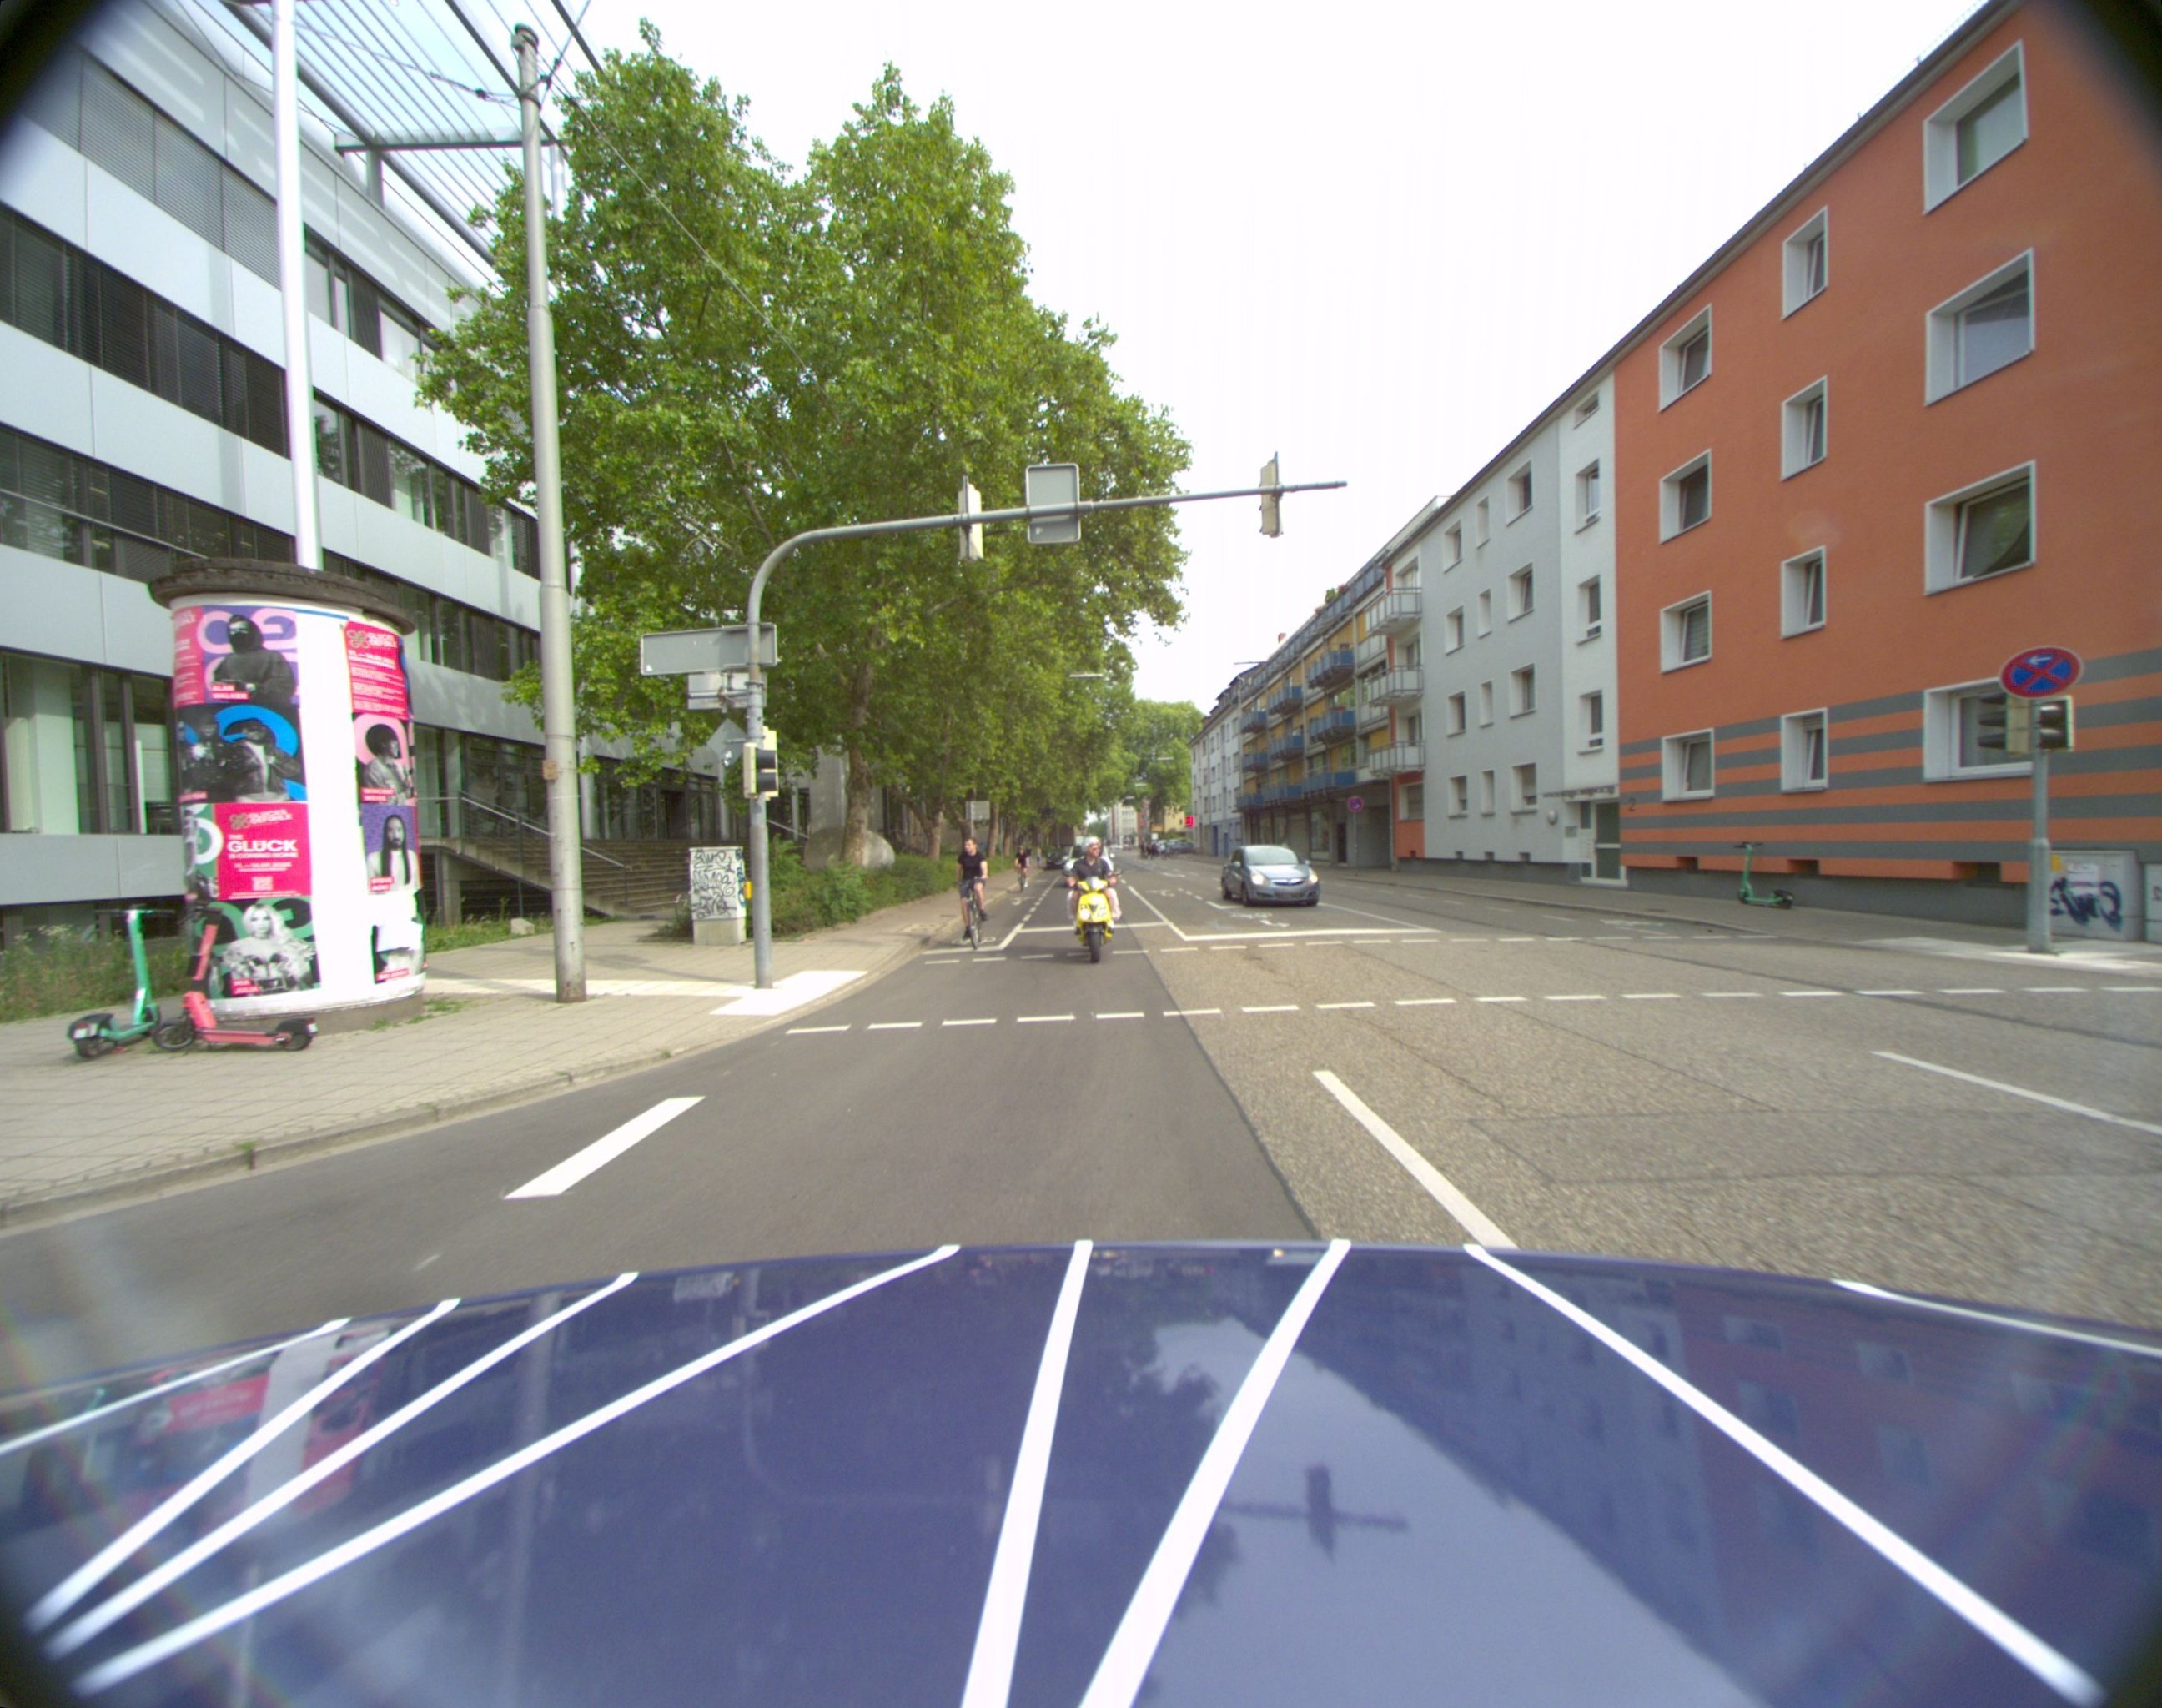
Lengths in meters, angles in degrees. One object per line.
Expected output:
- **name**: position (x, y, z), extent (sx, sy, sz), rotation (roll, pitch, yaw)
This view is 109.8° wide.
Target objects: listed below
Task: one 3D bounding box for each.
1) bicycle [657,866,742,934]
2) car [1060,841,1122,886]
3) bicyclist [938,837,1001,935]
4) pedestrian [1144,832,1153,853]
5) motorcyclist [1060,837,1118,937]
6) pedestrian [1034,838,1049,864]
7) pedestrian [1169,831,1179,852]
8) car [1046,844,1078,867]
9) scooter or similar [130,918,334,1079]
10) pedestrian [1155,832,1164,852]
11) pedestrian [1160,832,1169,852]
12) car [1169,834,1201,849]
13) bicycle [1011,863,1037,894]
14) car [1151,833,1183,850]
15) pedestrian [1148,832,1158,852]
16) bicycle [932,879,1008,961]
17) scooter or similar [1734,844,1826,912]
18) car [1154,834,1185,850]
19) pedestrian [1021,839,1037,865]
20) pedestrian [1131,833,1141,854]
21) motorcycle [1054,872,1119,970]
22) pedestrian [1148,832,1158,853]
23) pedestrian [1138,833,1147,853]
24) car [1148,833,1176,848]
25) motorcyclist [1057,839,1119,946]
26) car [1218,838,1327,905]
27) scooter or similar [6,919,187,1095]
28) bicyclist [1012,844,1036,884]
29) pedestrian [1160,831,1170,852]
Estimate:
- **bicycle**: position (-7.412, 0.864, 14.861), extent (0.700, 1.162, 1.725), rotation (-4, 1, 1)
- **car**: position (0.500, 0.327, 30.847), extent (1.998, 1.543, 4.522), rotation (-3, 1, 6)
- **bicyclist**: position (-1.872, 0.522, 12.872), extent (0.772, 1.574, 0.801), rotation (-4, 1, 4)
- **pedestrian**: position (6.691, -1.111, 75.409), extent (0.842, 2.002, 0.875), rotation (-3, 2, 5)
- **motorcyclist**: position (0.134, 0.479, 11.393), extent (0.781, 1.419, 0.689), rotation (-3, 1, 3)
- **pedestrian**: position (-3.176, -0.220, 60.934), extent (1.003, 2.002, 0.997), rotation (-3, 2, 2)
- **pedestrian**: position (9.178, -1.256, 74.918), extent (0.842, 2.002, 0.875), rotation (-3, 2, 5)
- **car**: position (-1.342, 0.075, 56.176), extent (1.998, 1.533, 4.271), rotation (-4, 1, 2)
- **scooter or similar**: position (-6.776, 1.135, 6.081), extent (1.309, 1.202, 0.344), rotation (0, 2, 5)
- **pedestrian**: position (7.922, -1.212, 76.741), extent (0.842, 2.002, 0.875), rotation (-3, 2, 5)
- **pedestrian**: position (8.484, -1.255, 77.190), extent (0.842, 2.002, 0.875), rotation (-3, 2, 5)
- **car**: position (13.547, -1.579, 98.851), extent (3.870, 1.679, 1.882), rotation (-4, 1, 0)
- **bicycle**: position (-2.087, 0.890, 28.121), extent (0.771, 1.009, 2.406), rotation (-2, 1, -1)
- **car**: position (11.739, -1.671, 103.452), extent (3.997, 2.002, 1.999), rotation (-4, 1, 0)
- **pedestrian**: position (7.445, -1.215, 78.509), extent (0.842, 2.002, 0.875), rotation (-3, 2, 5)
- **bicycle**: position (-1.821, 1.059, 12.773), extent (0.773, 1.124, 2.004), rotation (-4, 1, 4)
- **scooter or similar**: position (12.321, 0.397, 13.439), extent (0.369, 1.118, 1.354), rotation (-4, 1, 1)
- **car**: position (12.294, -1.699, 106.048), extent (3.997, 2.002, 1.999), rotation (-4, 1, 0)
- **pedestrian**: position (-4.156, -0.165, 60.973), extent (1.003, 2.002, 0.997), rotation (-3, 2, 2)
- **pedestrian**: position (5.539, -1.063, 76.684), extent (0.842, 2.002, 0.875), rotation (-3, 2, 5)
- **motorcycle**: position (0.116, 0.887, 10.790), extent (0.781, 1.171, 1.993), rotation (-3, 0, 3)
- **pedestrian**: position (7.073, -1.121, 74.674), extent (0.842, 2.002, 0.875), rotation (-3, 2, 5)
- **pedestrian**: position (6.279, -1.122, 77.374), extent (0.842, 2.002, 0.875), rotation (-3, 2, 5)
- **car**: position (12.285, -2.002, 115.350), extent (3.997, 2.002, 1.999), rotation (-4, 1, 0)
- **motorcyclist**: position (0.112, 0.516, 10.696), extent (0.781, 1.419, 0.764), rotation (-3, 1, 3)
- **car**: position (4.551, 0.342, 18.619), extent (1.673, 1.430, 3.819), rotation (-2, 1, 0)
- **scooter or similar**: position (-7.906, 1.165, 6.165), extent (0.473, 1.131, 1.307), rotation (-1, 2, -34)
- **bicyclist**: position (-2.110, 0.354, 28.247), extent (0.784, 1.439, 0.914), rotation (-2, 1, -1)
- **pedestrian**: position (8.306, -1.200, 74.807), extent (0.842, 2.002, 0.875), rotation (-3, 2, 5)
